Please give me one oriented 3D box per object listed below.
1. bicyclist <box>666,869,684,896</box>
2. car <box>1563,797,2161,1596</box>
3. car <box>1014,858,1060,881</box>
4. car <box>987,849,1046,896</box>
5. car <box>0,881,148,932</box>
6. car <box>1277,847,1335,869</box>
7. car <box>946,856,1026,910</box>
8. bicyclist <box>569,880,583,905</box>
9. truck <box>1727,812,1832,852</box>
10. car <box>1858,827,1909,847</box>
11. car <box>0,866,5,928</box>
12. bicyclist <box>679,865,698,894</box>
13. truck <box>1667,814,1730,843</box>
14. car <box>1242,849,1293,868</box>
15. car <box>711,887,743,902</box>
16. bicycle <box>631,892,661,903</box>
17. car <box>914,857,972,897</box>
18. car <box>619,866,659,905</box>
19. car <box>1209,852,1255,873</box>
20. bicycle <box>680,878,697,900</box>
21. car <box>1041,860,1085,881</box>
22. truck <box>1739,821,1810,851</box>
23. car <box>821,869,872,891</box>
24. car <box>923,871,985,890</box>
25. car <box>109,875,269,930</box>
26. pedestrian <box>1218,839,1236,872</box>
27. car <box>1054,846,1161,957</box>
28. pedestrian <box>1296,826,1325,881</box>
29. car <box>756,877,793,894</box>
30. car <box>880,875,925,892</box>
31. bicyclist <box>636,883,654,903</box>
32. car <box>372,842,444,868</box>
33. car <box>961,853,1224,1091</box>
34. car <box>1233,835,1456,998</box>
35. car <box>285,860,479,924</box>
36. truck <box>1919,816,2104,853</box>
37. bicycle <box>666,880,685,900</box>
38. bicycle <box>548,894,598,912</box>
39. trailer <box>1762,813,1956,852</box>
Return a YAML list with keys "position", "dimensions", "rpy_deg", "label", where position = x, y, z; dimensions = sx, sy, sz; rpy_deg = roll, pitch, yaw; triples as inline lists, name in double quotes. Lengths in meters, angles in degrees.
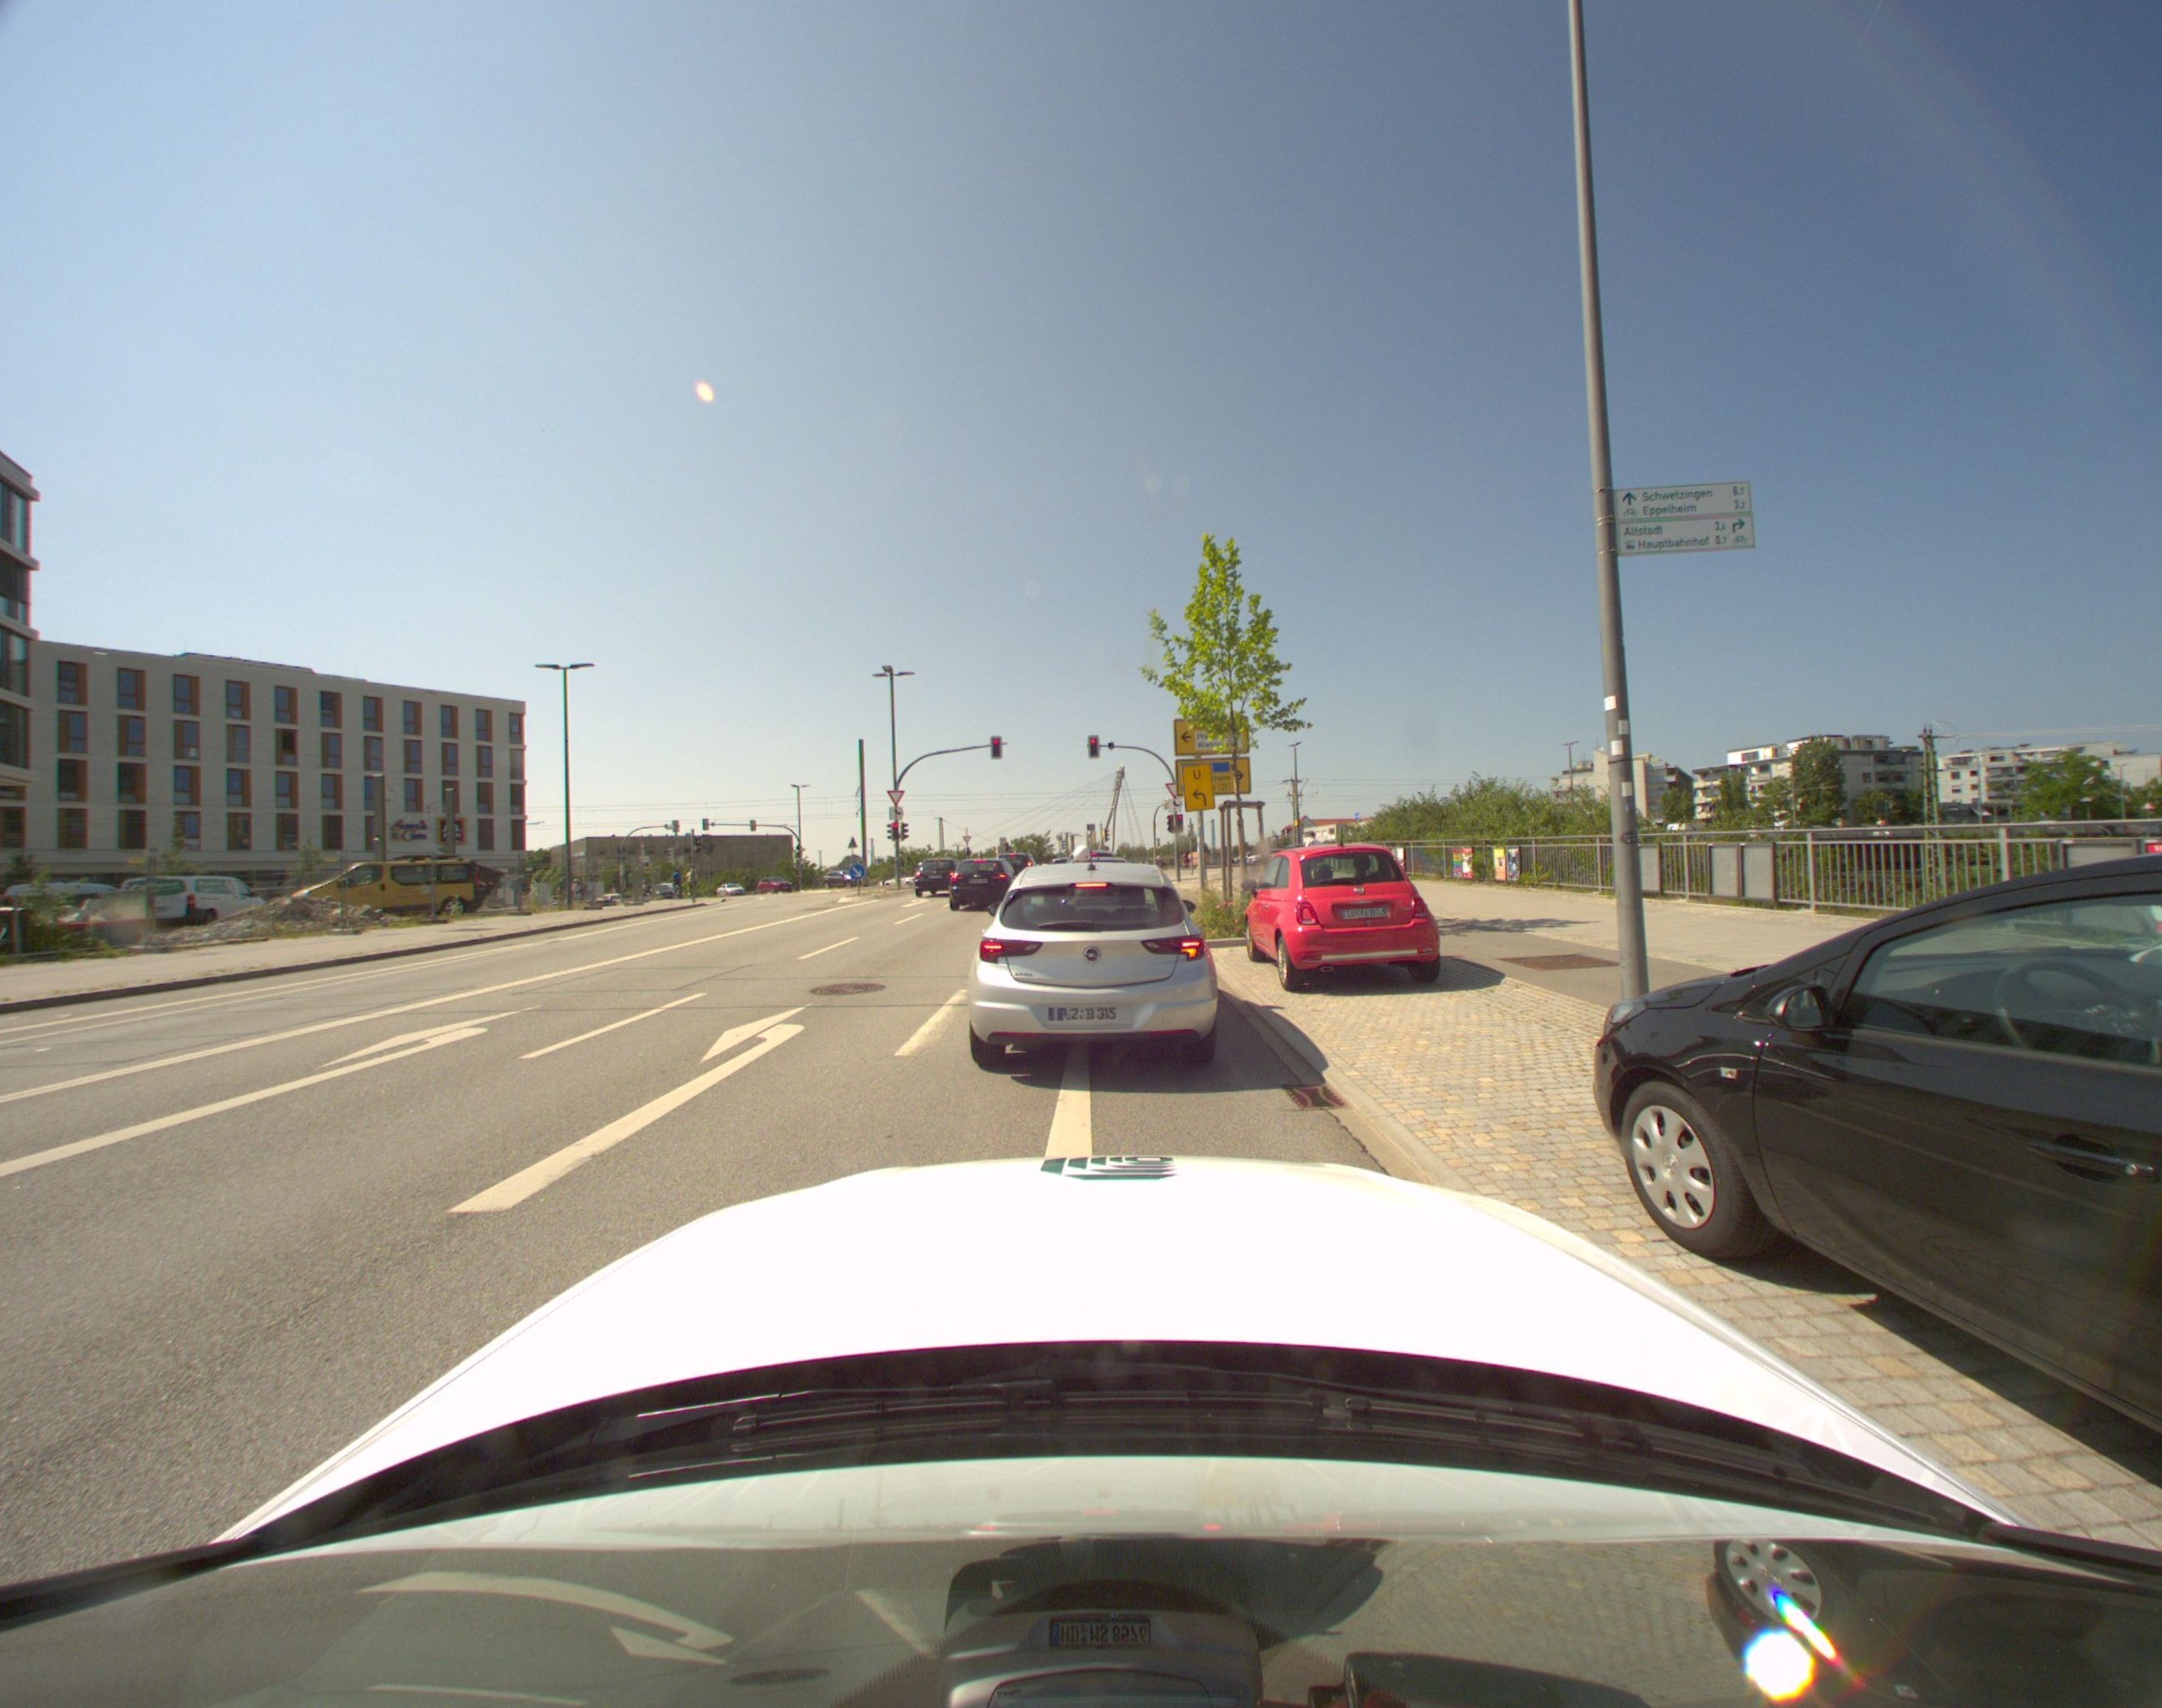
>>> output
- position: [-24.097, 1.673, 48.347]
  dimensions: [0.866, 1.560, 0.816]
  rpy_deg: [1, -1, -32]
  label: "bicyclist"
- position: [2.886, 0.643, 1.736]
  dimensions: [1.576, 1.555, 3.548]
  rpy_deg: [-4, 0, 1]
  label: "car"
- position: [-4.170, 1.488, 77.069]
  dimensions: [3.963, 2.014, 2.005]
  rpy_deg: [-2, -1, 9]
  label: "car"
- position: [-2.467, 0.709, 31.922]
  dimensions: [1.797, 1.622, 3.917]
  rpy_deg: [-4, -1, 1]
  label: "car"
- position: [-33.693, 1.690, 27.275]
  dimensions: [1.809, 1.508, 3.965]
  rpy_deg: [0, -1, -27]
  label: "car"
- position: [17.021, 0.335, 61.584]
  dimensions: [3.819, 1.629, 1.849]
  rpy_deg: [0, -1, -13]
  label: "car"
- position: [-2.662, 0.796, 23.569]
  dimensions: [1.699, 1.412, 4.001]
  rpy_deg: [0, -1, 2]
  label: "car"
- position: [-30.975, 2.372, 49.918]
  dimensions: [0.660, 1.502, 0.836]
  rpy_deg: [0, -1, -28]
  label: "bicyclist"
- position: [59.048, -1.785, 68.913]
  dimensions: [6.478, 3.204, 3.721]
  rpy_deg: [0, -1, -14]
  label: "truck"
- position: [82.940, -1.765, 84.142]
  dimensions: [3.993, 2.014, 1.990]
  rpy_deg: [0, -1, -14]
  label: "car"
- position: [-36.181, 1.407, 25.007]
  dimensions: [2.220, 2.056, 4.133]
  rpy_deg: [0, -1, -28]
  label: "car"
- position: [-20.839, 1.345, 43.264]
  dimensions: [0.823, 1.569, 0.941]
  rpy_deg: [0, -1, -22]
  label: "bicyclist"
- position: [55.387, -2.270, 73.072]
  dimensions: [4.699, 2.541, 1.991]
  rpy_deg: [0, -1, -13]
  label: "truck"
- position: [17.638, 0.444, 76.944]
  dimensions: [4.254, 1.673, 1.989]
  rpy_deg: [-1, -1, -16]
  label: "car"
- position: [-36.119, 4.124, 83.023]
  dimensions: [1.782, 1.333, 3.669]
  rpy_deg: [1, -1, -44]
  label: "car"
- position: [-27.024, 2.701, 50.577]
  dimensions: [2.224, 0.692, 0.519]
  rpy_deg: [-2, -1, 30]
  label: "bicycle"
- position: [-5.221, 0.854, 31.176]
  dimensions: [1.581, 1.395, 3.340]
  rpy_deg: [-1, -1, 1]
  label: "car"
- position: [-24.198, 1.661, 44.524]
  dimensions: [1.681, 2.014, 3.959]
  rpy_deg: [1, -1, -32]
  label: "car"
- position: [14.813, 0.804, 79.844]
  dimensions: [3.998, 2.014, 1.988]
  rpy_deg: [0, -1, -18]
  label: "car"
- position: [-20.790, 1.852, 43.187]
  dimensions: [0.678, 1.127, 2.347]
  rpy_deg: [0, -1, -22]
  label: "bicycle"
- position: [-1.315, 1.200, 59.302]
  dimensions: [3.133, 1.439, 1.586]
  rpy_deg: [0, -1, 0]
  label: "car"
- position: [67.831, -1.723, 79.655]
  dimensions: [5.858, 2.884, 2.109]
  rpy_deg: [0, -1, -12]
  label: "truck"
- position: [-19.808, 2.165, 68.701]
  dimensions: [4.158, 1.741, 1.728]
  rpy_deg: [-1, -1, 29]
  label: "car"
- position: [-10.121, 2.122, 64.910]
  dimensions: [4.434, 1.455, 2.010]
  rpy_deg: [-1, -1, 19]
  label: "car"
- position: [-31.082, 1.632, 28.596]
  dimensions: [2.003, 1.707, 4.526]
  rpy_deg: [0, -1, -23]
  label: "car"
- position: [8.549, 0.094, 47.838]
  dimensions: [0.744, 1.863, 0.747]
  rpy_deg: [0, -1, -27]
  label: "pedestrian"
- position: [0.440, 0.746, 14.239]
  dimensions: [1.629, 1.674, 3.745]
  rpy_deg: [0, -1, 1]
  label: "car"
- position: [7.793, -0.022, 27.705]
  dimensions: [0.755, 1.830, 0.885]
  rpy_deg: [0, -1, 1]
  label: "pedestrian"
- position: [-28.267, 2.907, 75.004]
  dimensions: [3.950, 1.455, 1.694]
  rpy_deg: [-1, -1, 45]
  label: "car"
- position: [-17.752, 2.880, 81.092]
  dimensions: [4.156, 1.645, 1.844]
  rpy_deg: [-1, -1, 27]
  label: "car"
- position: [-27.025, 2.431, 50.475]
  dimensions: [0.650, 1.175, 0.735]
  rpy_deg: [-4, -1, 29]
  label: "bicyclist"
- position: [-54.343, 0.102, 65.843]
  dimensions: [3.990, 2.014, 1.991]
  rpy_deg: [0, -1, -12]
  label: "car"
- position: [0.121, 0.781, 7.440]
  dimensions: [1.685, 1.520, 4.271]
  rpy_deg: [-1, 0, 1]
  label: "car"
- position: [2.984, 0.605, 10.073]
  dimensions: [1.662, 1.539, 3.921]
  rpy_deg: [-3, 0, 4]
  label: "car"
- position: [-22.633, 1.155, 26.511]
  dimensions: [1.974, 1.890, 4.514]
  rpy_deg: [-1, -1, 40]
  label: "car"
- position: [87.285, -1.757, 76.337]
  dimensions: [17.857, 3.204, 3.723]
  rpy_deg: [0, -1, -14]
  label: "truck"
- position: [-24.134, 2.139, 48.458]
  dimensions: [0.731, 1.134, 2.506]
  rpy_deg: [2, -3, -32]
  label: "bicycle"
- position: [-30.977, 2.987, 49.680]
  dimensions: [2.518, 1.007, 0.600]
  rpy_deg: [0, -5, -27]
  label: "bicycle"
- position: [68.065, -1.782, 71.220]
  dimensions: [17.225, 3.204, 3.723]
  rpy_deg: [0, -1, -14]
  label: "trailer"
